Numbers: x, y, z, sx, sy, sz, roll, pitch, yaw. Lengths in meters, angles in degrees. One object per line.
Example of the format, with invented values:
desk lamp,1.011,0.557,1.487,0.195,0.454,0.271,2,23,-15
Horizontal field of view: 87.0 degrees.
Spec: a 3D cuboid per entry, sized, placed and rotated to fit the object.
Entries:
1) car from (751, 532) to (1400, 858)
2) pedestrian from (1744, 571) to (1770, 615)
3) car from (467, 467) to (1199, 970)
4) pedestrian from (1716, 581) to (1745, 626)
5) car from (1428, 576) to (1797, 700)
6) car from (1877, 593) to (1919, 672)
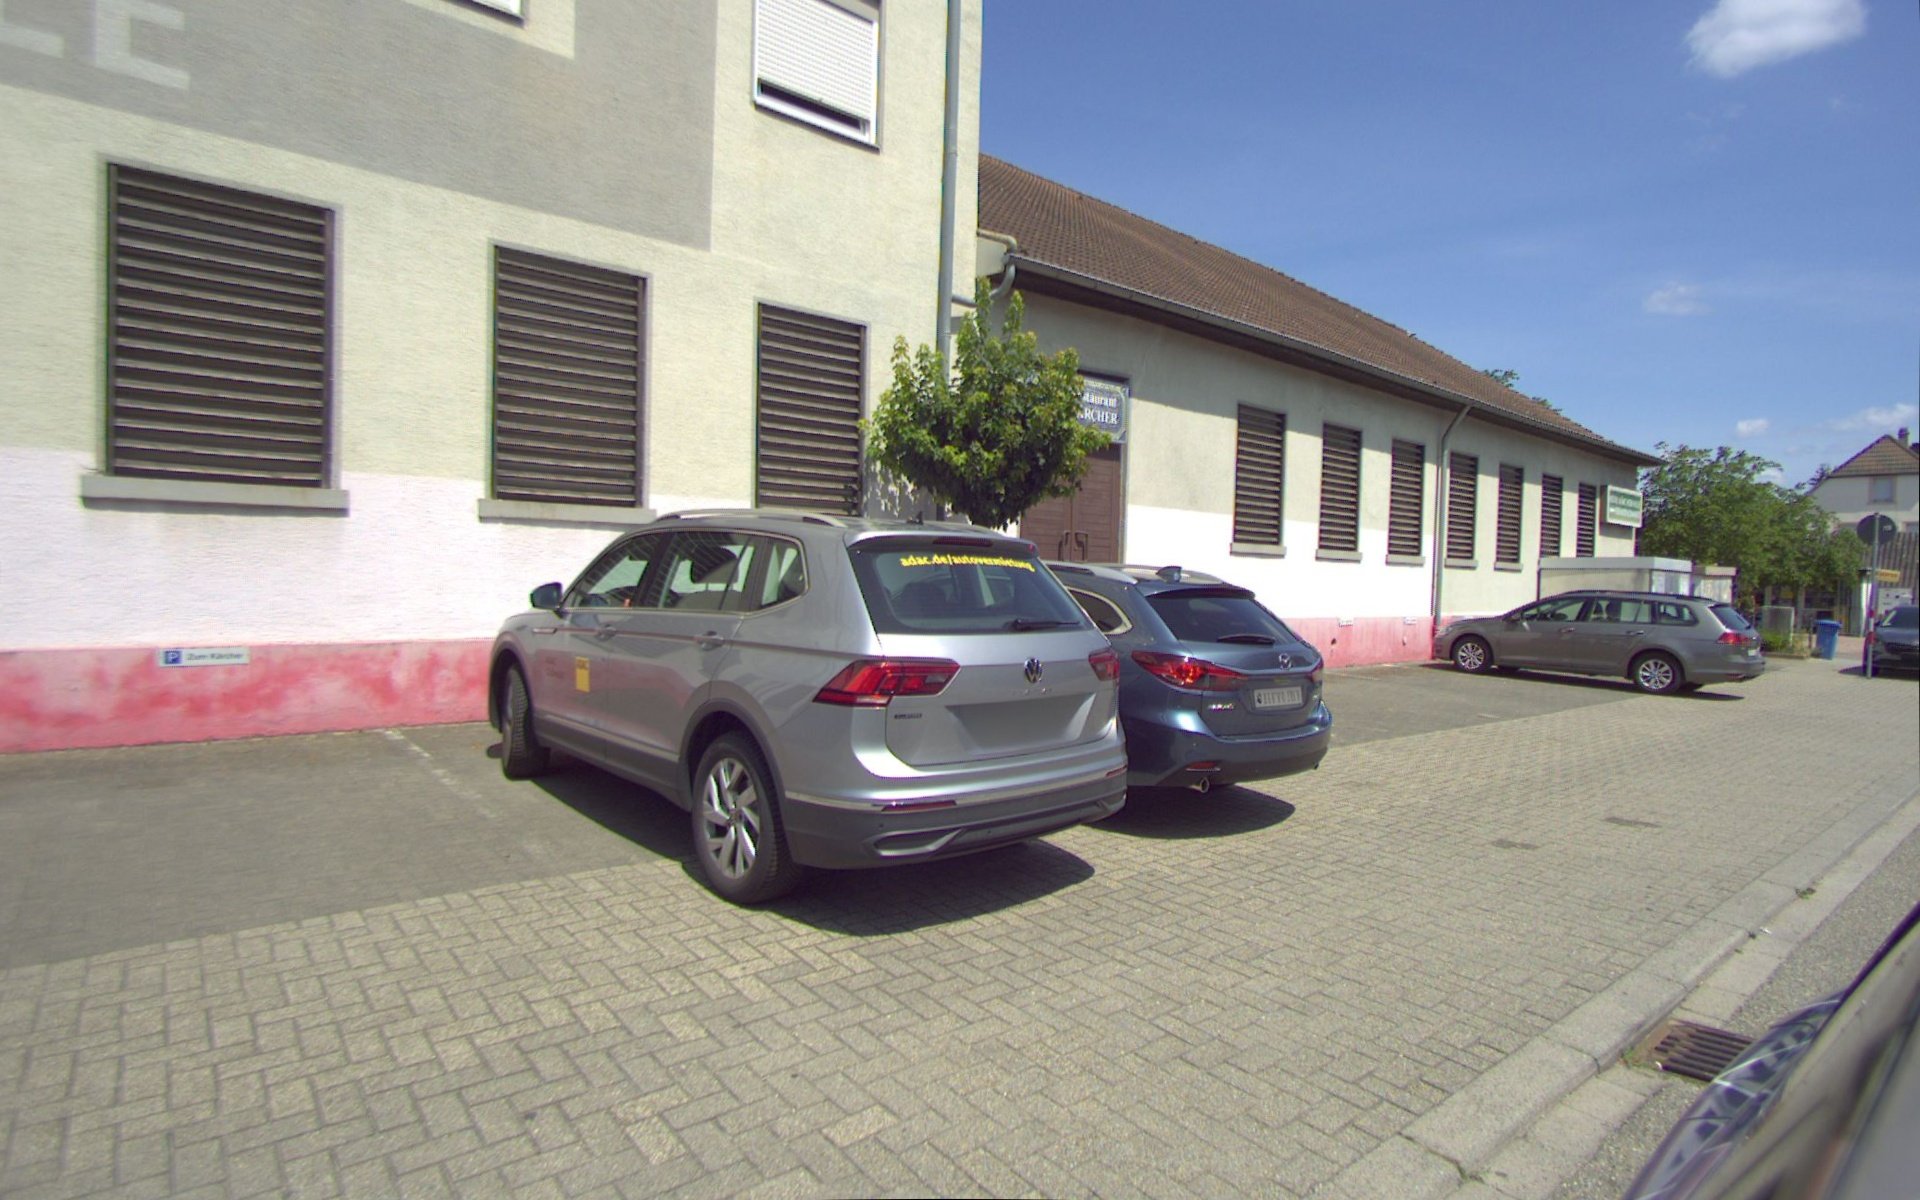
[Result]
car,0.487,0.358,7.341,1.965,1.538,4.511,1,3,-40
pedestrian,32.070,-0.296,40.709,0.587,1.741,0.464,2,1,1
car,-1.103,0.261,5.741,1.890,1.717,4.462,0,3,-42
pedestrian,31.092,0.134,40.849,0.668,1.811,0.549,2,1,1
car,10.184,0.486,16.115,1.884,1.472,4.538,1,3,-40
car,20.198,0.656,20.702,4.067,1.507,1.631,0,2,-41
